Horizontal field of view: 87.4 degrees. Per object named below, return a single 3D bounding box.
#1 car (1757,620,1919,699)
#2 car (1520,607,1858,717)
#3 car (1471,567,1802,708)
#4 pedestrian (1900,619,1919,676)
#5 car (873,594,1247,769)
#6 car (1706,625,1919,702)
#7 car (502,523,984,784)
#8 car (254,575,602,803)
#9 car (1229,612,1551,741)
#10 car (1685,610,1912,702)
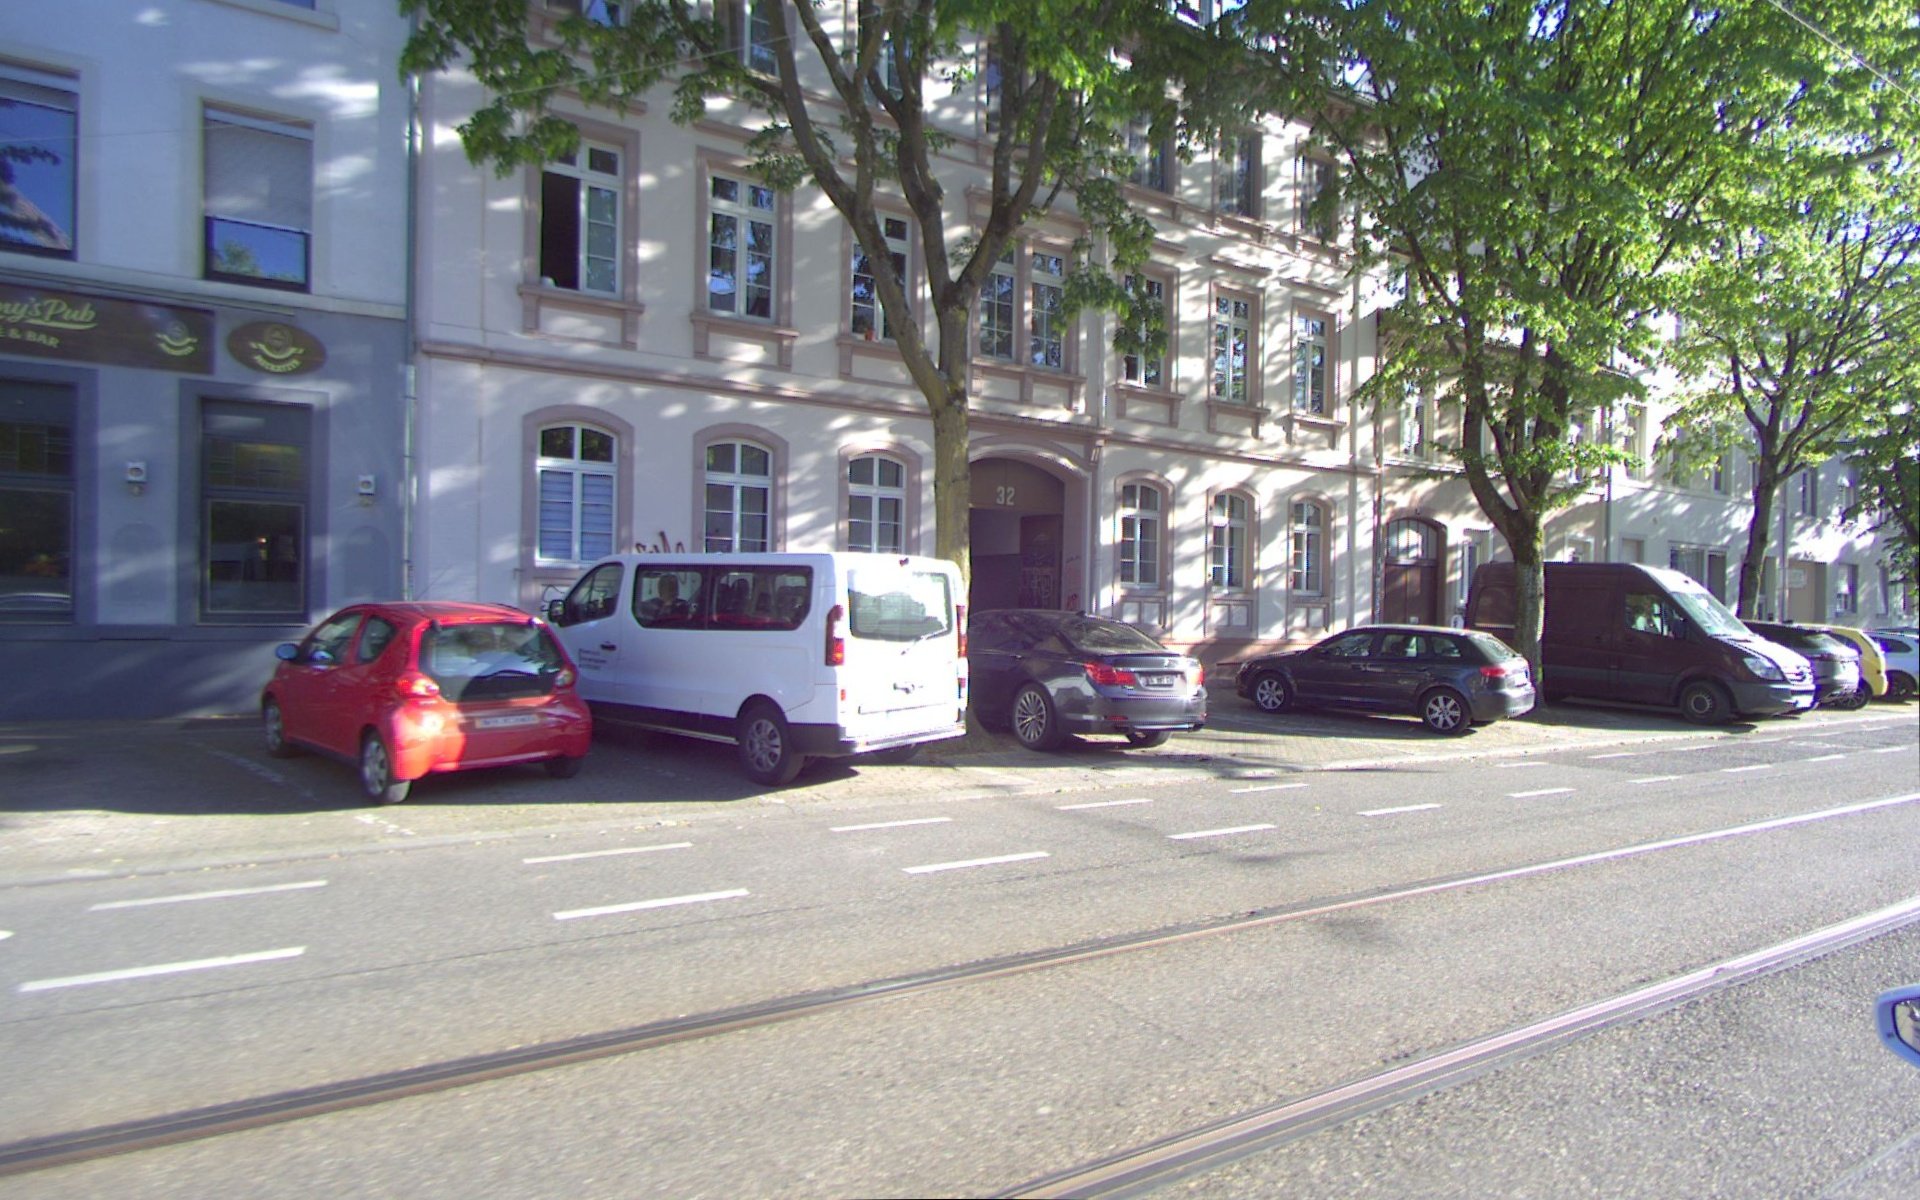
[{"bbox_3d":[21.983,1.399,24.234,1.682,1.699,3.970,1,0,-29],"label":"car"},{"bbox_3d":[13.697,1.069,19.219,2.139,1.747,4.803,2,0,-31],"label":"car"},{"bbox_3d":[11.777,0.623,17.805,2.139,2.146,4.413,1,-1,-31],"label":"car"},{"bbox_3d":[31.647,1.577,33.215,0.617,1.862,0.641,1,-1,-28],"label":"pedestrian"},{"bbox_3d":[0.931,0.779,12.014,1.934,1.597,4.666,1,1,-33],"label":"car"},{"bbox_3d":[19.607,1.378,22.807,1.692,1.573,4.116,2,-2,-45],"label":"car"},{"bbox_3d":[-2.342,0.418,10.165,4.861,2.040,2.067,1,-1,37],"label":"car"},{"bbox_3d":[-4.714,0.616,8.744,3.288,1.473,1.490,5,2,39],"label":"car"},{"bbox_3d":[6.243,1.018,14.919,1.660,1.472,4.045,2,1,-44],"label":"car"},{"bbox_3d":[16.979,1.081,20.541,3.314,1.574,1.381,2,3,30],"label":"car"}]
